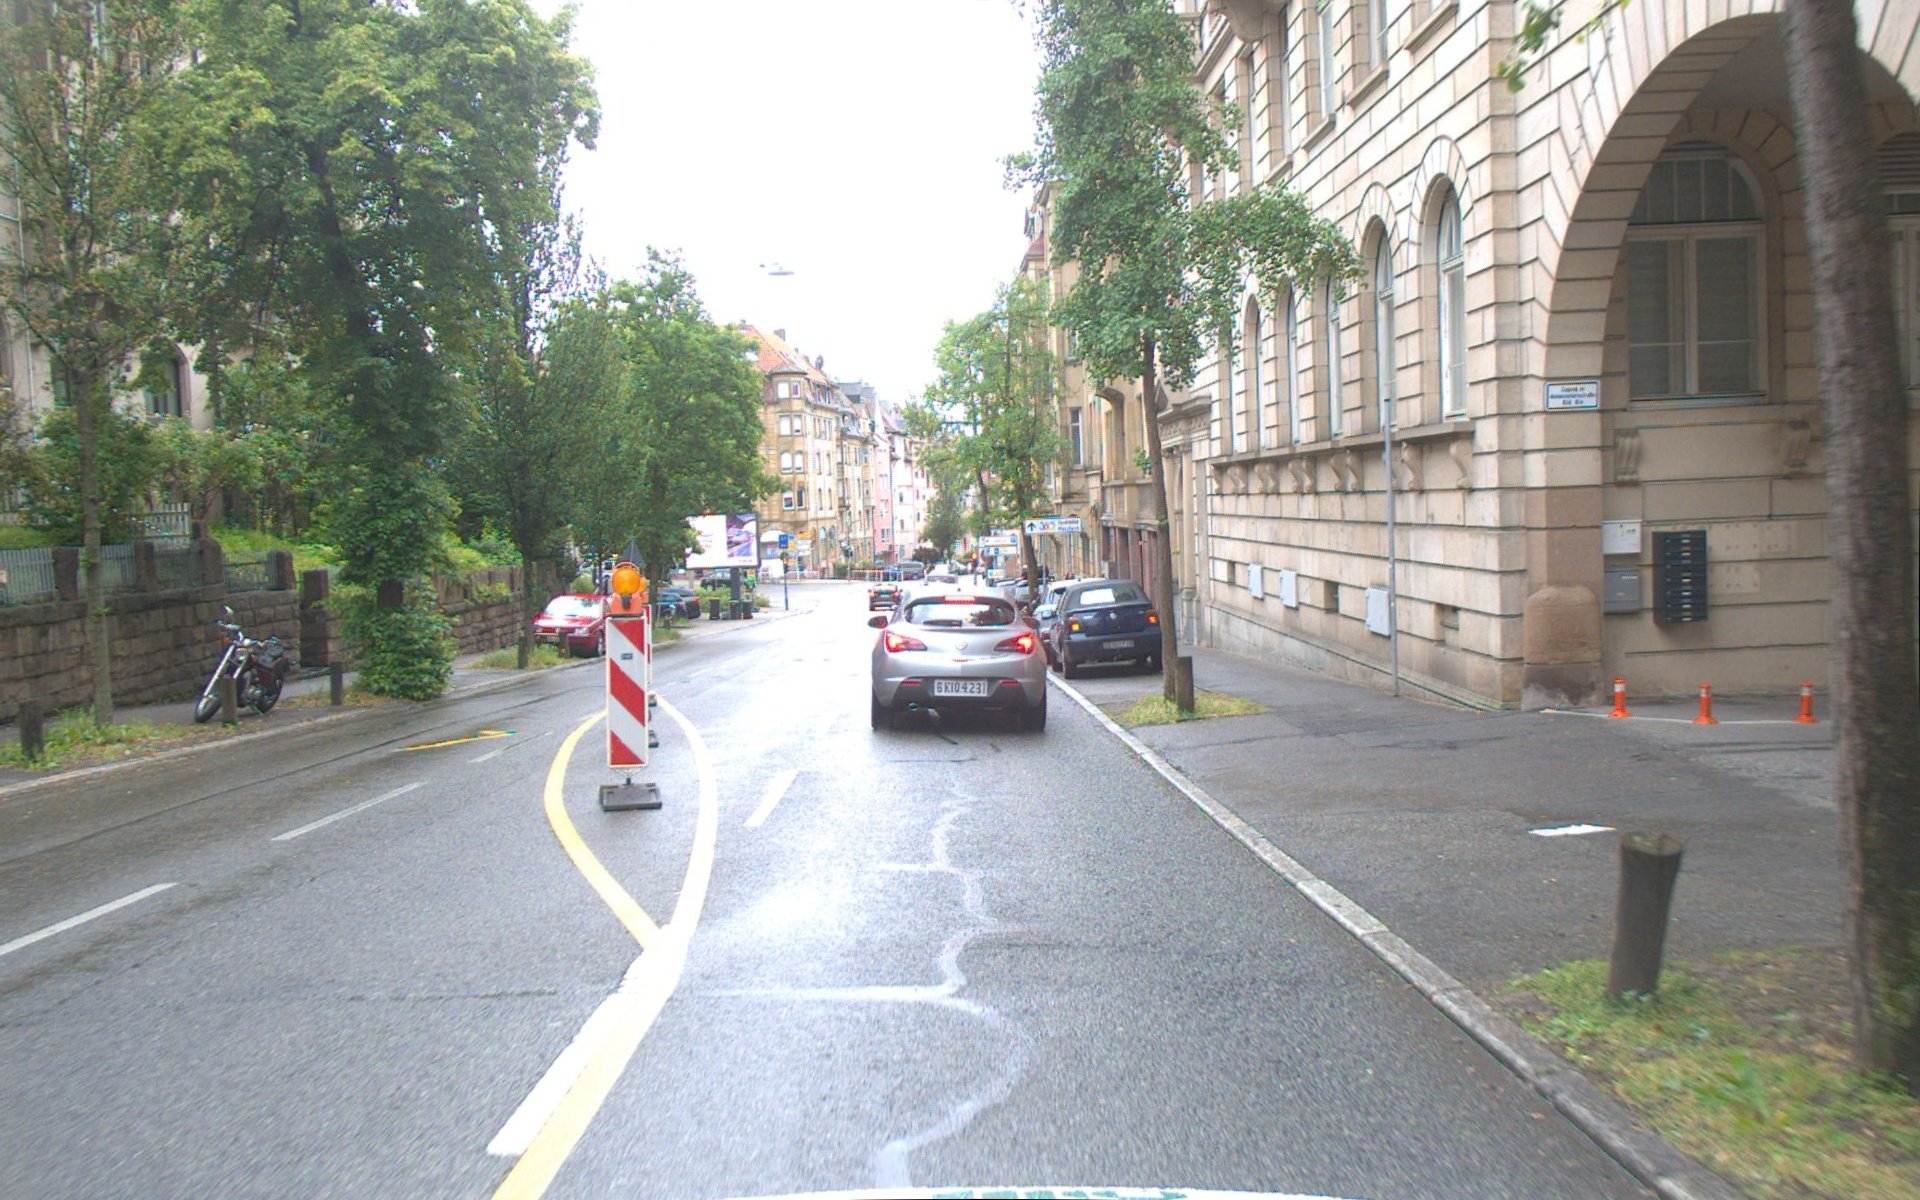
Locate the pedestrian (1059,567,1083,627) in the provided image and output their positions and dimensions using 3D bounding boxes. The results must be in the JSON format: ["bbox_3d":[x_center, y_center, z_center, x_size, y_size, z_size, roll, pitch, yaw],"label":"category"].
[{"bbox_3d":[3.540,-0.084,52.740,0.701,1.903,0.635,0,0,-1],"label":"pedestrian"}]

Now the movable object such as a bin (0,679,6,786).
[{"bbox_3d":[-8.656,1.161,14.170,0.591,0.923,0.624,0,1,0],"label":"movable object such as a bin"}]

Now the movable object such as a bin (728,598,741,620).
[{"bbox_3d":[-11.343,0.431,83.110,0.613,1.077,0.719,1,0,-7],"label":"movable object such as a bin"}]

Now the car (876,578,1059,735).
[{"bbox_3d":[0.012,0.527,18.117,1.775,1.475,3.868,-1,1,-2],"label":"car"}]

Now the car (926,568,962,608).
[{"bbox_3d":[-0.758,-0.588,77.676,1.623,1.813,3.665,-1,1,-1],"label":"car"}]

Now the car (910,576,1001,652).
[{"bbox_3d":[-0.146,0.256,35.921,1.737,1.530,3.867,-1,1,-4],"label":"car"}]

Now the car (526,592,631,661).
[{"bbox_3d":[-9.236,0.599,40.348,1.604,1.464,4.079,-2,1,-1],"label":"car"}]

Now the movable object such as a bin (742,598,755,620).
[{"bbox_3d":[-10.784,0.465,84.220,0.646,1.077,0.626,1,0,-9],"label":"movable object such as a bin"}]

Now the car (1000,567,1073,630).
[{"bbox_3d":[2.108,-0.073,46.478,1.605,1.630,3.855,-2,1,-3],"label":"car"}]

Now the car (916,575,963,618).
[{"bbox_3d":[-0.848,-0.145,65.696,1.624,1.569,3.663,-4,1,-3],"label":"car"}]

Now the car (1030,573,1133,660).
[{"bbox_3d":[2.261,0.271,31.647,1.604,1.494,3.857,-2,1,-1],"label":"car"}]

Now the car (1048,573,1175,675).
[{"bbox_3d":[2.367,0.329,26.535,1.604,1.454,3.376,-2,1,-2],"label":"car"}]

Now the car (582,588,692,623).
[{"bbox_3d":[-13.456,0.219,68.907,4.247,1.265,1.633,-3,1,-20],"label":"car"}]

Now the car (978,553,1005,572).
[{"bbox_3d":[3.018,-3.563,156.924,1.951,1.713,4.003,1,0,9],"label":"car"}]

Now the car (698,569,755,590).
[{"bbox_3d":[-17.990,-1.617,127.492,4.142,1.612,1.939,0,1,-1],"label":"car"}]

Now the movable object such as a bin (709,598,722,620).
[{"bbox_3d":[-12.314,0.433,83.175,0.613,1.077,0.633,1,0,-7],"label":"movable object such as a bin"}]

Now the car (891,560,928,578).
[{"bbox_3d":[-5.355,-3.285,175.027,3.906,1.780,2.000,1,0,-1],"label":"car"}]

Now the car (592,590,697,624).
[{"bbox_3d":[-13.701,0.273,71.884,4.247,1.265,1.633,-3,1,-20],"label":"car"}]

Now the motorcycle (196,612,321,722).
[{"bbox_3d":[-9.281,0.850,21.982,0.750,1.369,2.202,0,0,-1],"label":"motorcycle"}]

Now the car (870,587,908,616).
[{"bbox_3d":[-3.981,0.047,92.881,1.953,1.527,4.000,-2,1,-1],"label":"car"}]

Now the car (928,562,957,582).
[{"bbox_3d":[-1.609,-2.519,150.322,1.951,1.713,4.003,1,0,9],"label":"car"}]

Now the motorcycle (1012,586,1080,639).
[{"bbox_3d":[2.097,0.290,40.095,0.645,1.257,1.973,0,0,38],"label":"motorcycle"}]

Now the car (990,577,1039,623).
[{"bbox_3d":[1.988,-0.023,61.238,1.604,1.551,3.857,-2,1,-1],"label":"car"}]
